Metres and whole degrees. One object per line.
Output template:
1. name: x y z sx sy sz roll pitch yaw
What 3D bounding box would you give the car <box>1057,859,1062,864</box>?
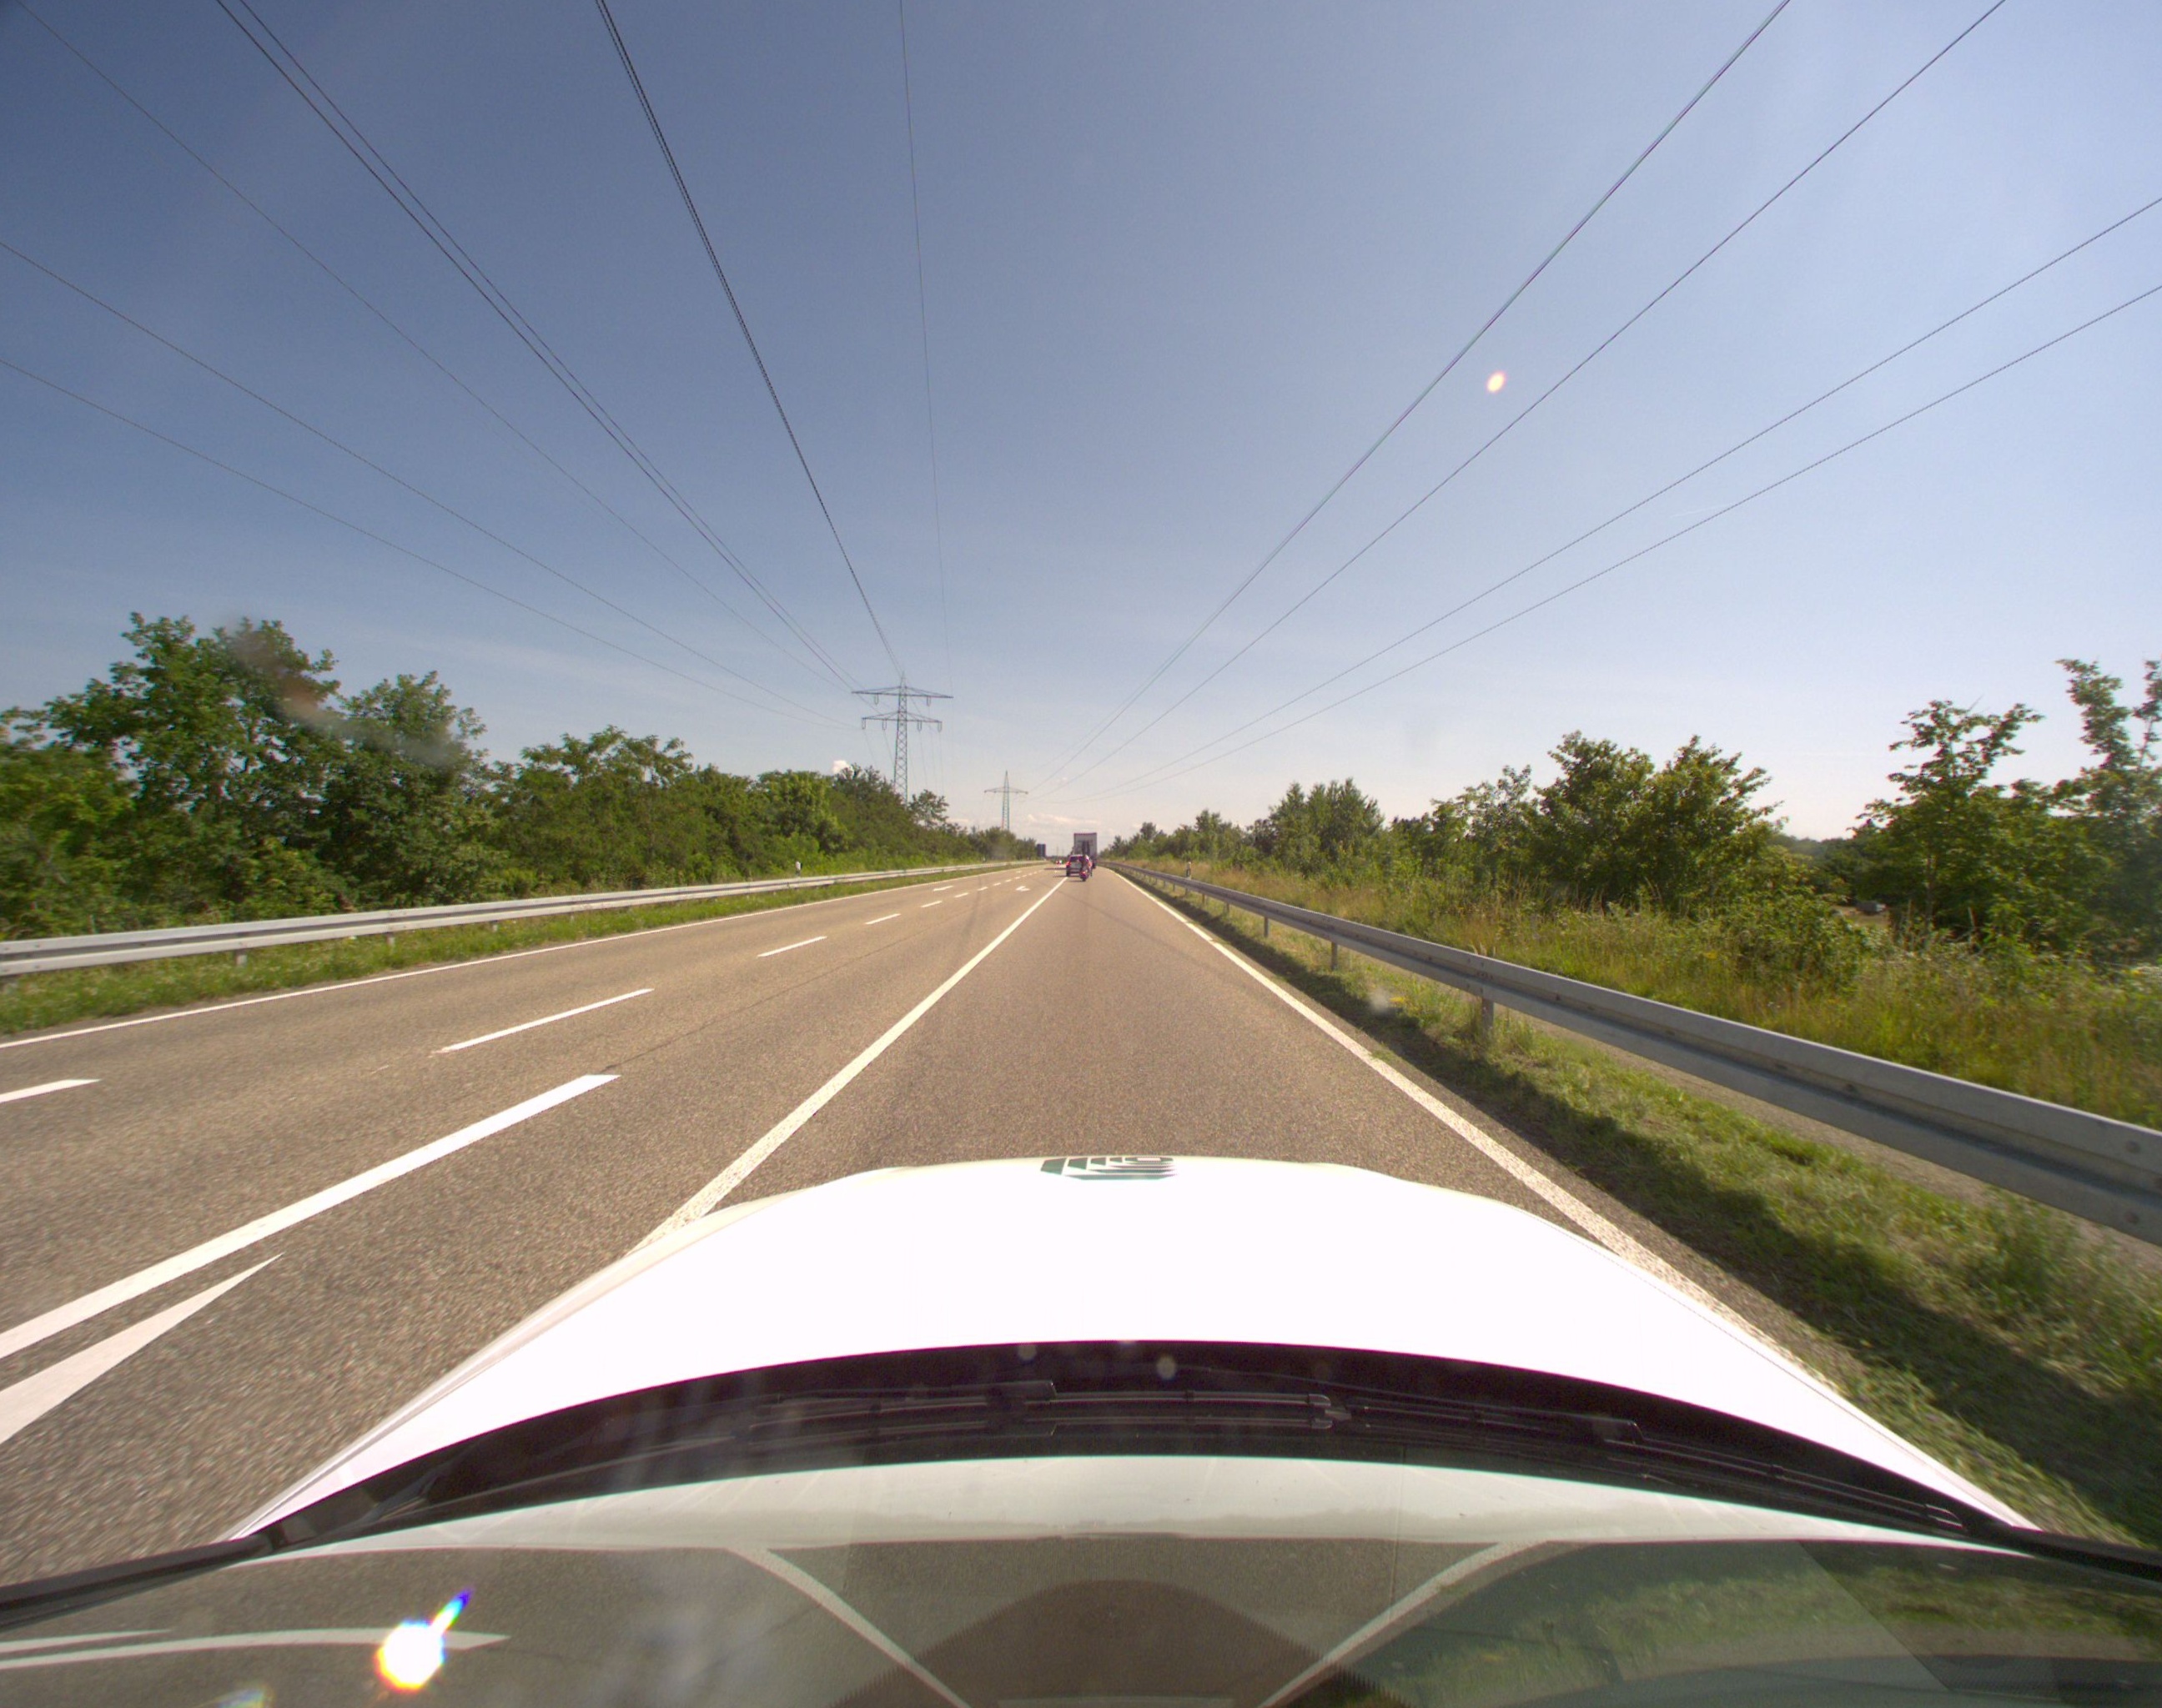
1. car: -6.872 2.276 259.215 1.722 1.491 4.420 0 0 -1

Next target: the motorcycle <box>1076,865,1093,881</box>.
1. motorcycle: 0.210 1.118 47.817 0.857 0.915 2.225 0 0 -3

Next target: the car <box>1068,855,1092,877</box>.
1. car: -0.102 0.875 58.575 1.696 1.536 3.498 0 0 -1

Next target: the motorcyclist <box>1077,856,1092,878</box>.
1. motorcyclist: 0.210 0.776 47.862 0.835 1.280 0.918 0 0 -3

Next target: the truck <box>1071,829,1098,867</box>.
1. truck: 0.415 -0.603 97.634 2.958 4.187 14.820 0 0 0
